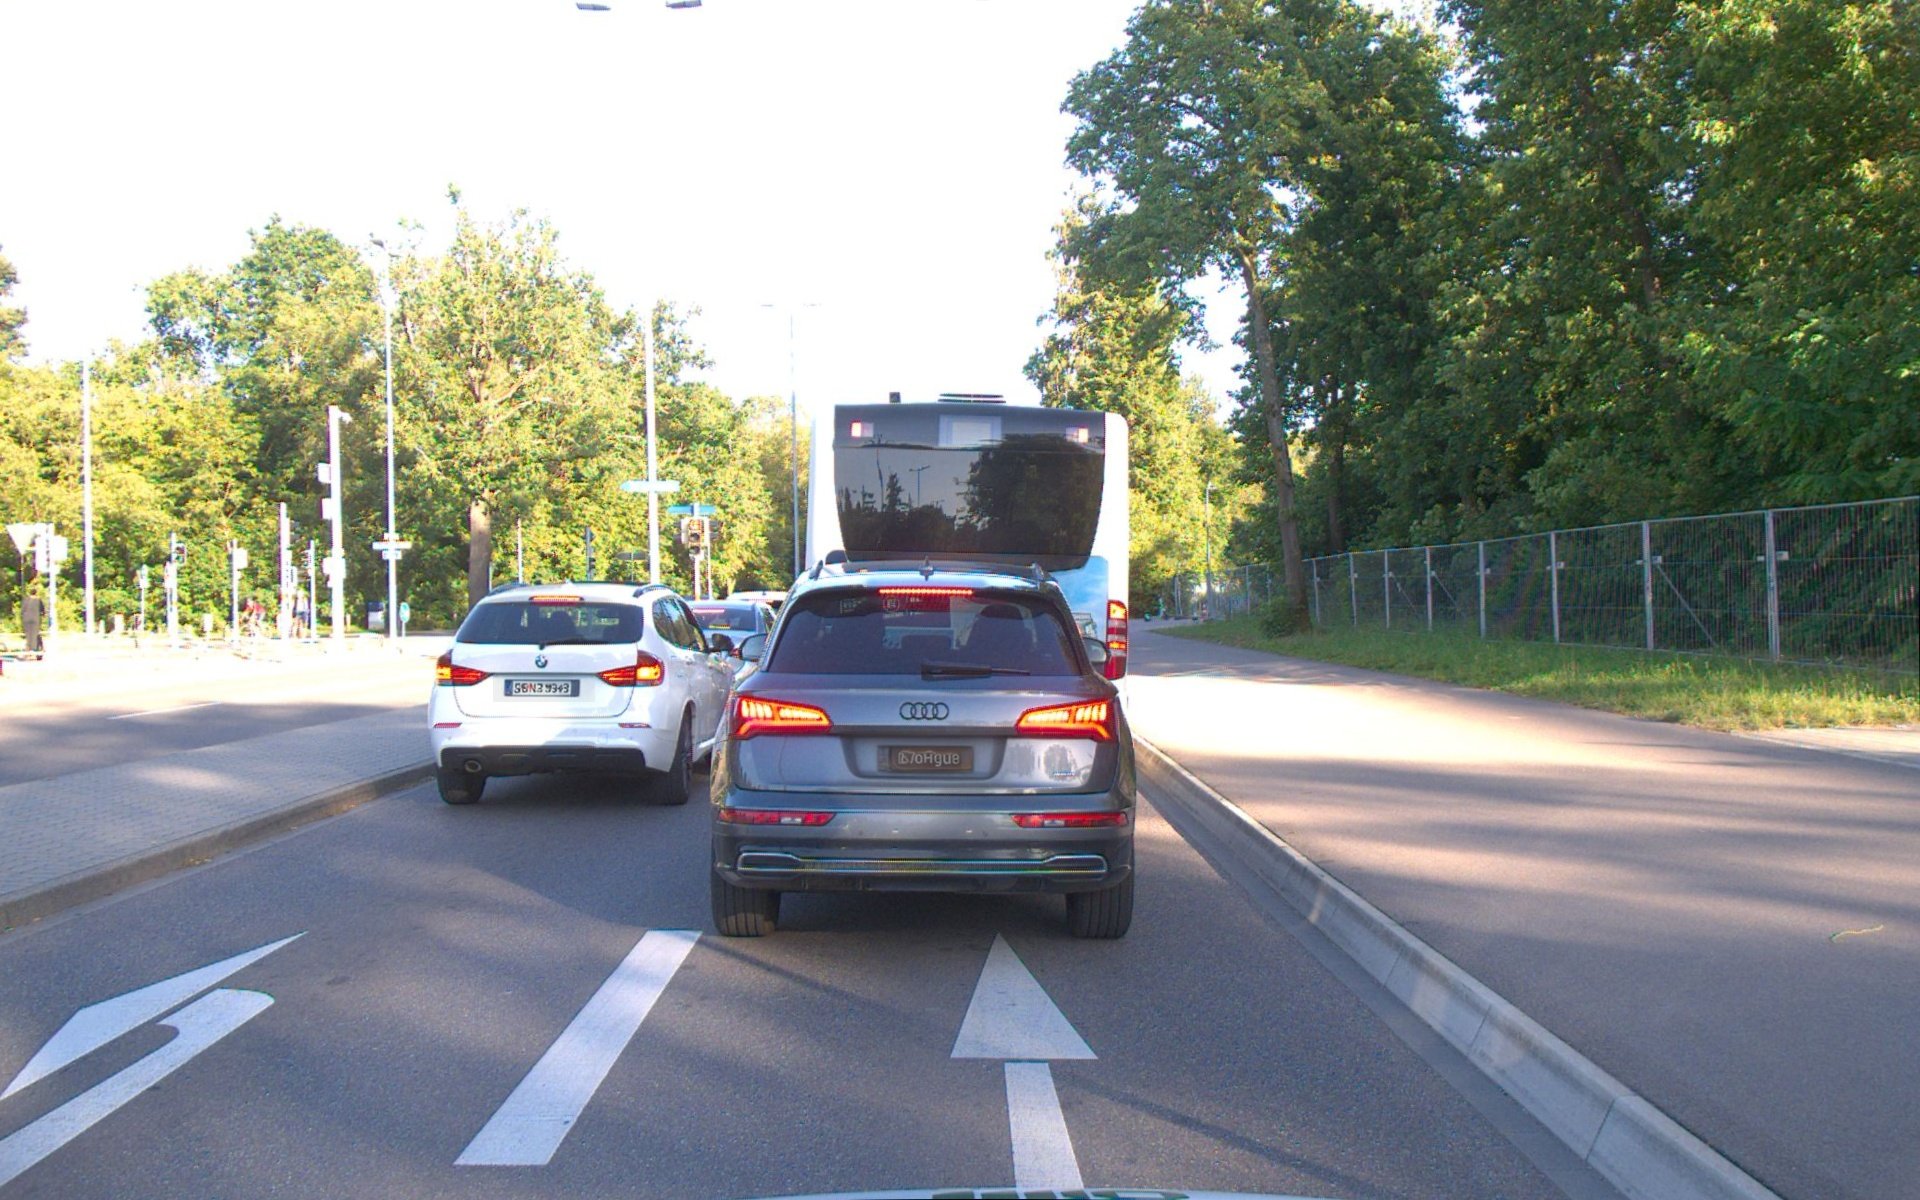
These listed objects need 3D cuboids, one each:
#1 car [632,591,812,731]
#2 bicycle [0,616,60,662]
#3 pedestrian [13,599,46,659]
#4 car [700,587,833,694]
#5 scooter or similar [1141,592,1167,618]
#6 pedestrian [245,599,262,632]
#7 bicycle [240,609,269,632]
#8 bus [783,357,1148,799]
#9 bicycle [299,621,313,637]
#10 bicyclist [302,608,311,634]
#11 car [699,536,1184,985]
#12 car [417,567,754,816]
[{"bbox_3d":[-2.793,0.658,20.228,1.749,1.469,4.276,1,1,-3],"label":"car"},{"bbox_3d":[-24.779,1.022,44.097,0.458,1.198,2.003,1,0,-1],"label":"bicycle"},{"bbox_3d":[-24.784,0.767,44.072,0.472,1.589,0.648,1,-1,-1],"label":"pedestrian"},{"bbox_3d":[-3.136,0.604,27.505,1.771,1.599,4.000,1,1,-1],"label":"car"},{"bbox_3d":[9.145,0.240,77.975,1.158,1.195,0.659,1,0,10],"label":"scooter or similar"},{"bbox_3d":[-24.760,0.535,57.976,0.436,1.128,0.378,1,-1,-7],"label":"pedestrian"},{"bbox_3d":[-24.743,0.713,58.016,0.566,0.814,1.276,1,0,-6],"label":"bicycle"},{"bbox_3d":[0.062,-0.201,15.082,2.623,3.196,5.882,1,1,0],"label":"bus"},{"bbox_3d":[-24.690,1.077,62.481,0.261,0.592,0.838,1,0,-6],"label":"bicycle"},{"bbox_3d":[-24.675,0.805,62.438,0.268,0.979,0.240,1,-1,-8],"label":"bicyclist"},{"bbox_3d":[-0.096,0.589,8.327,1.830,1.693,4.000,1,1,-1],"label":"car"},{"bbox_3d":[-2.729,0.603,13.055,1.683,1.608,4.433,1,0,-1],"label":"car"}]
